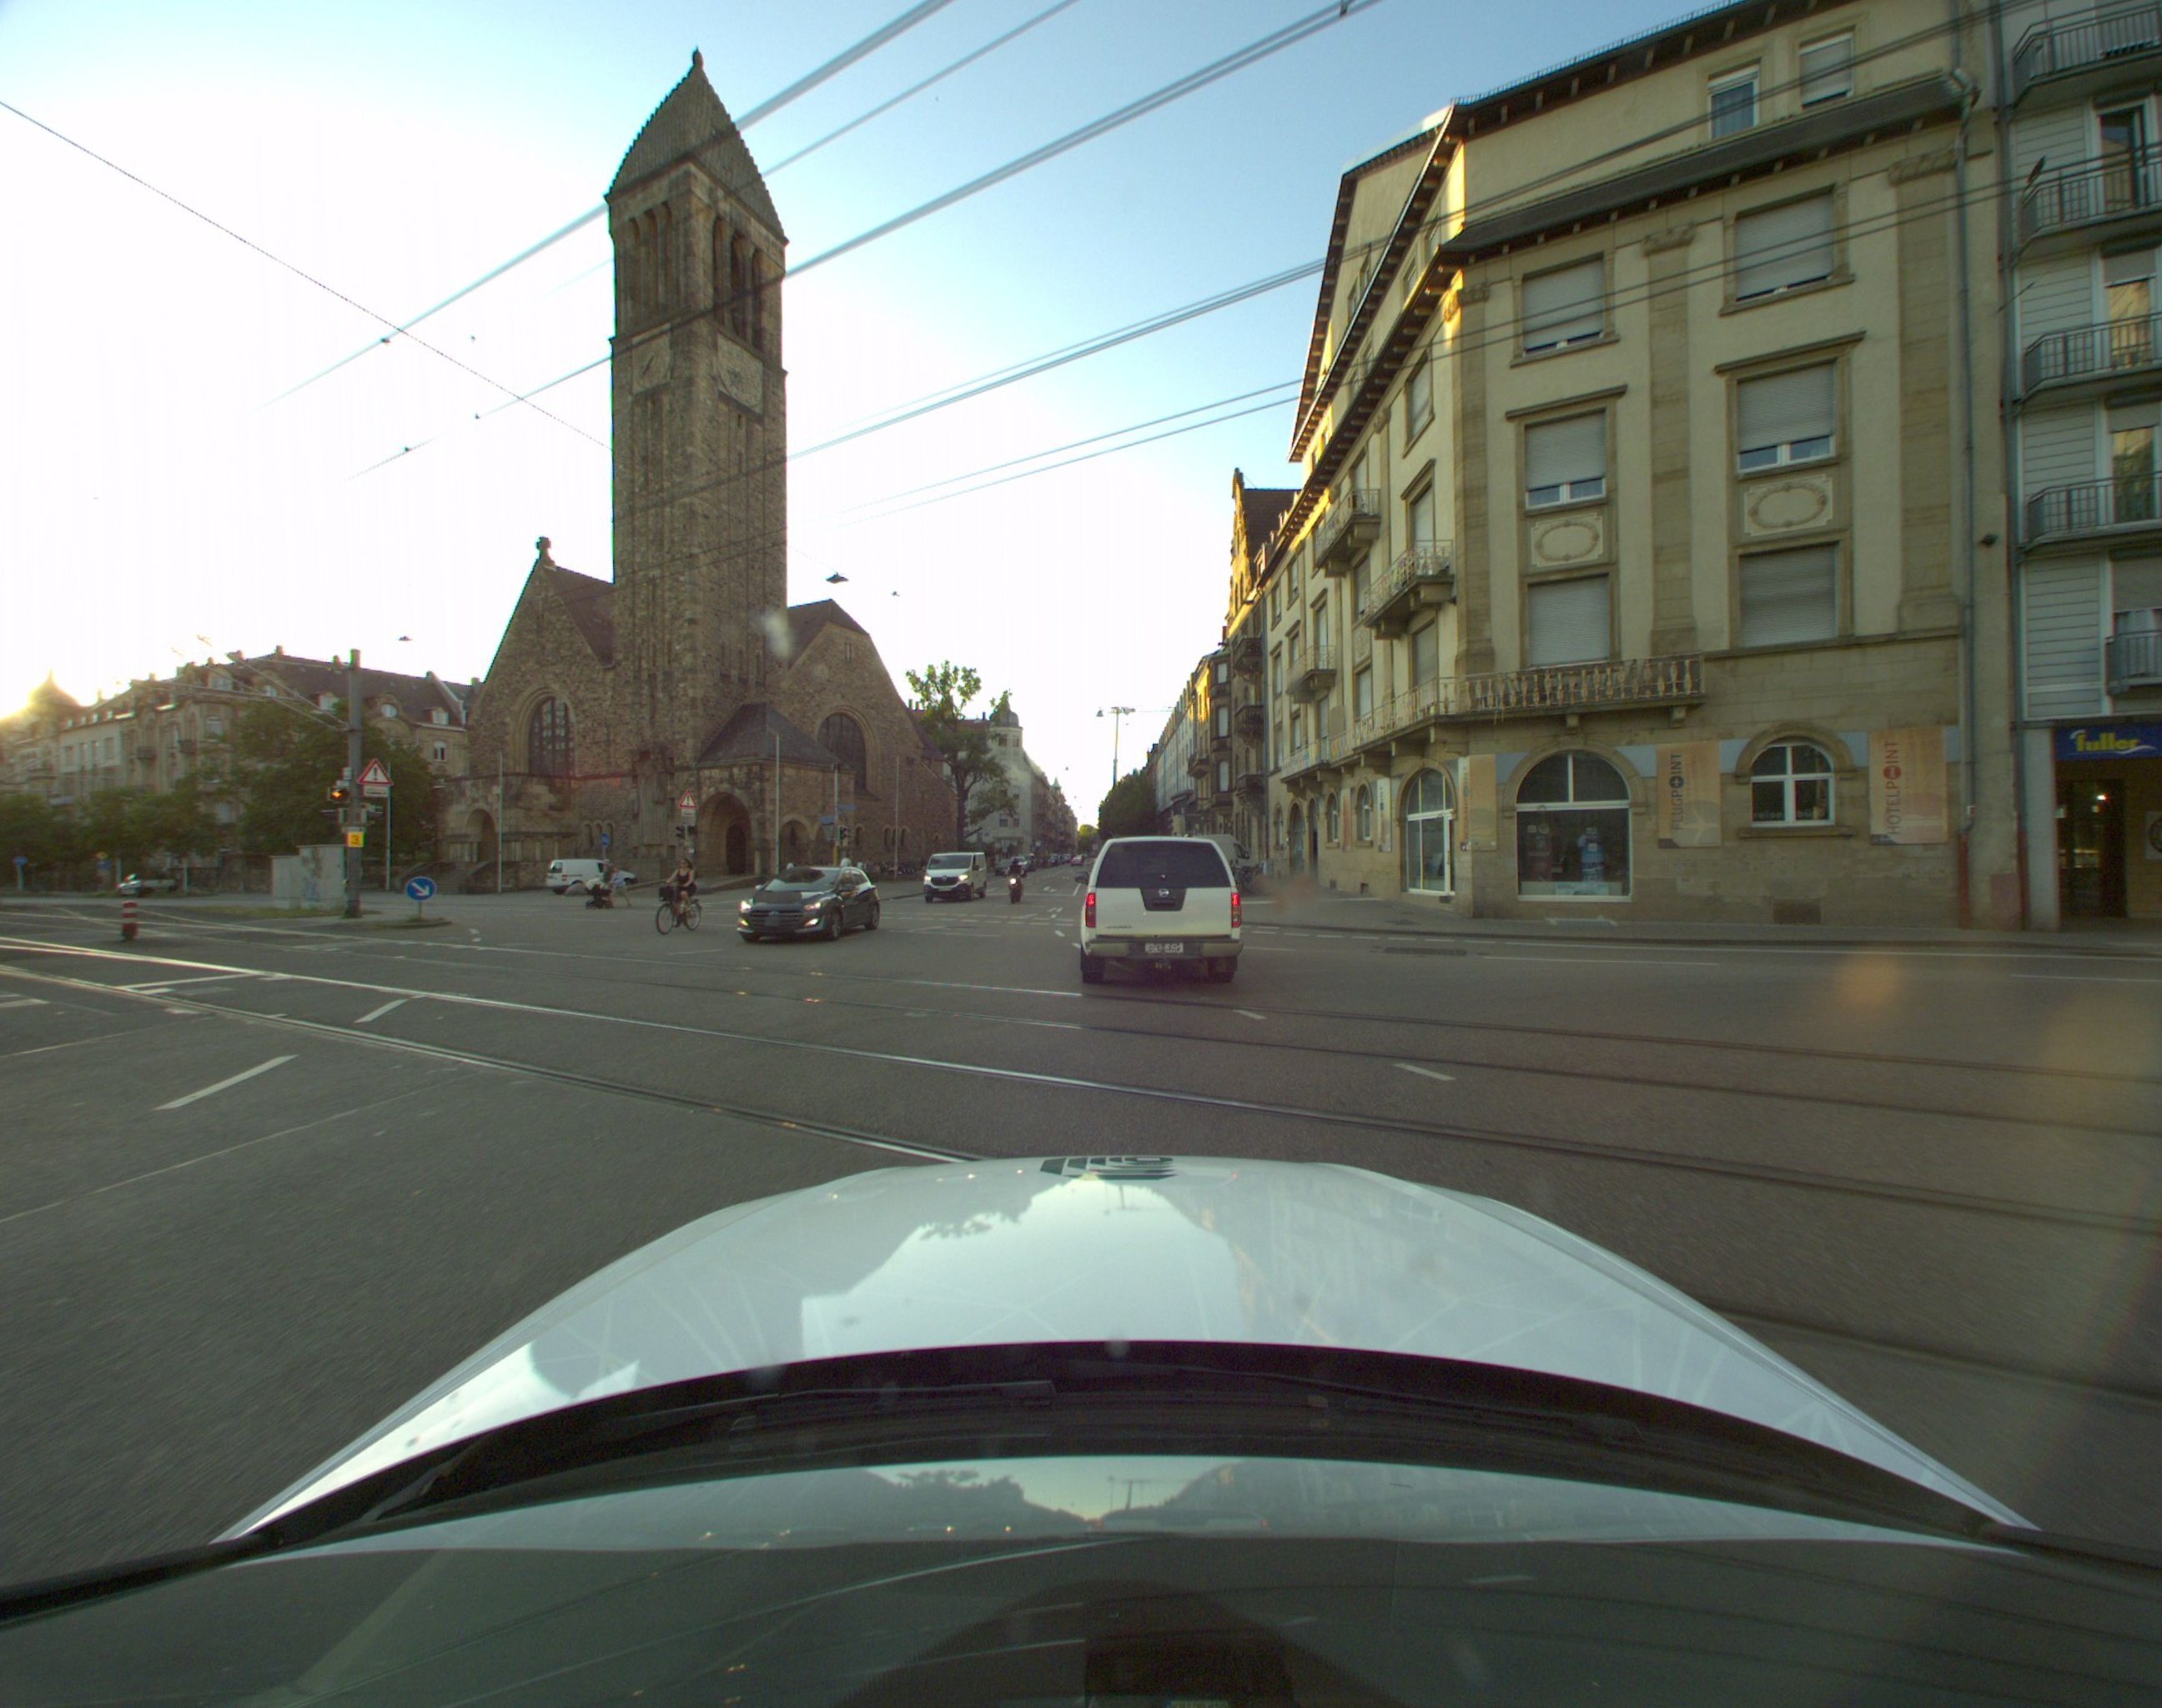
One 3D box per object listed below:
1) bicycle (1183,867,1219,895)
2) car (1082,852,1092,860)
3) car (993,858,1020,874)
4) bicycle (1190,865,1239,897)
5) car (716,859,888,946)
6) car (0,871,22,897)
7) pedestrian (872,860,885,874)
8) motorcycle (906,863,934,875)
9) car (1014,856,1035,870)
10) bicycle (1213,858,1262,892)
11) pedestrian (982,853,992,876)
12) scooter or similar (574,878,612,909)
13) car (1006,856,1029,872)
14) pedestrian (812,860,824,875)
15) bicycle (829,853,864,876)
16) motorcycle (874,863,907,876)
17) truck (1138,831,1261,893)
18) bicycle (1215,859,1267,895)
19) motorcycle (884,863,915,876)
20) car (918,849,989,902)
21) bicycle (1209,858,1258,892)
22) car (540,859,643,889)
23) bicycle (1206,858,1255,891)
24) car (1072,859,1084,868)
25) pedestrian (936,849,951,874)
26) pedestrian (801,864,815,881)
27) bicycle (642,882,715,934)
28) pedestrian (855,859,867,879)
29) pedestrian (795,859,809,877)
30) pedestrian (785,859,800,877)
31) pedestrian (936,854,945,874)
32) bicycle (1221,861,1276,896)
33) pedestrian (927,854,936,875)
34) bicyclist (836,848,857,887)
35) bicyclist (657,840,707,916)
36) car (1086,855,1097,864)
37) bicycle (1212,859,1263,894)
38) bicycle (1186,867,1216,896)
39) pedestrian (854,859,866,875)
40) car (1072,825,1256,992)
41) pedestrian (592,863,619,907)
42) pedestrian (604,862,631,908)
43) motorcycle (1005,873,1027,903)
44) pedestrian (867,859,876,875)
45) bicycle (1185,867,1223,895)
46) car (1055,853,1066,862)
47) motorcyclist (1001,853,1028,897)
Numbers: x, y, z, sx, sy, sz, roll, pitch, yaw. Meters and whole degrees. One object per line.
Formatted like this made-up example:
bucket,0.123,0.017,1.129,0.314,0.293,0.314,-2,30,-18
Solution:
bicycle,4.826,1.062,32.673,1.328,1.024,0.317,-4,-1,0
car,1.164,0.434,155.051,1.915,1.529,3.999,0,0,0
car,-6.516,1.073,71.958,1.851,1.398,4.002,0,0,2
bicycle,4.999,1.017,30.521,1.721,1.083,0.317,-4,-1,0
car,-5.549,0.899,16.833,1.986,1.477,4.141,-2,0,2
car,-88.854,2.453,66.415,3.952,2.014,2.011,0,-1,22
pedestrian,-14.278,0.919,57.456,0.547,0.960,0.713,0,-1,23
motorcycle,-12.786,1.176,64.634,2.146,0.987,0.597,0,-1,22
car,-5.991,0.955,86.737,1.851,1.529,4.002,0,0,2
bicycle,6.217,0.833,32.388,1.811,1.238,0.412,-4,-1,0
pedestrian,-7.609,0.860,65.976,0.646,1.855,0.557,1,-1,-27
scooter or similar,-18.076,1.455,30.172,0.629,1.103,1.082,0,-1,14
car,-6.238,0.980,80.155,1.851,1.529,4.002,0,0,2
pedestrian,-17.358,0.886,53.716,0.550,0.960,0.708,0,-1,-4
bicycle,-11.280,0.521,39.279,0.652,1.078,2.251,0,0,11
motorcycle,-14.114,1.143,60.367,2.239,0.987,0.707,0,-1,-3
truck,5.400,0.333,36.614,5.703,2.565,2.261,0,0,-41
bicycle,6.085,0.852,30.954,1.811,1.238,0.488,-4,-1,0
motorcycle,-13.919,1.158,62.389,2.239,0.987,0.707,0,-1,-3
car,-5.149,0.834,33.682,1.986,2.014,4.952,-1,0,1
bicycle,6.175,0.837,32.996,1.811,1.238,0.410,-4,-1,0
car,-26.152,1.052,43.705,1.698,1.517,4.482,0,-1,27
bicycle,6.158,0.843,33.528,1.849,1.238,0.531,-4,-1,0
car,-0.514,1.532,135.096,1.853,1.529,3.999,0,0,-1
pedestrian,-9.215,0.480,54.560,0.809,1.669,0.859,0,-1,0
pedestrian,-14.930,1.006,44.547,0.473,0.960,0.526,0,-1,32
bicycle,-8.831,1.156,17.970,0.597,1.043,1.946,0,0,2
pedestrian,-13.553,0.915,50.130,0.474,1.245,0.526,0,-1,20
pedestrian,-14.863,0.723,43.374,0.517,0.960,0.482,0,-1,22
pedestrian,-15.469,0.723,43.675,0.517,0.960,0.482,0,-1,22
pedestrian,-11.826,0.818,68.417,0.640,1.695,0.562,0,-1,2
bicycle,6.162,0.890,30.009,1.811,1.150,0.636,-4,-1,0
pedestrian,-12.157,0.842,66.125,0.642,1.695,0.561,0,-1,-6
bicyclist,-11.294,0.641,39.304,0.652,1.827,0.862,0,-1,10
bicyclist,-8.830,0.523,18.061,0.597,1.644,0.963,0,-1,1
car,1.864,1.006,144.692,1.851,1.529,4.002,0,0,2
bicycle,6.081,0.862,31.666,1.811,1.238,0.478,-4,-1,0
bicycle,4.621,1.067,31.421,1.073,1.024,0.317,-4,-1,0
pedestrian,-13.318,0.765,49.028,0.517,0.960,0.482,0,-1,20
car,1.004,0.604,10.872,1.985,1.809,4.003,0,0,3
pedestrian,-18.275,1.182,31.280,0.629,1.698,0.605,0,-1,16
pedestrian,-17.674,1.168,31.030,0.629,1.698,0.605,0,-1,13
motorcycle,-2.423,1.259,30.348,0.597,1.043,1.946,0,0,2
pedestrian,-12.566,0.766,48.876,0.522,0.960,0.477,0,-1,-13
bicycle,4.847,1.057,32.124,1.367,1.024,0.317,-4,-1,0
car,-3.903,0.680,152.880,1.851,1.529,4.002,0,0,2
motorcyclist,-2.470,0.775,30.363,0.871,1.644,0.963,0,-1,1
